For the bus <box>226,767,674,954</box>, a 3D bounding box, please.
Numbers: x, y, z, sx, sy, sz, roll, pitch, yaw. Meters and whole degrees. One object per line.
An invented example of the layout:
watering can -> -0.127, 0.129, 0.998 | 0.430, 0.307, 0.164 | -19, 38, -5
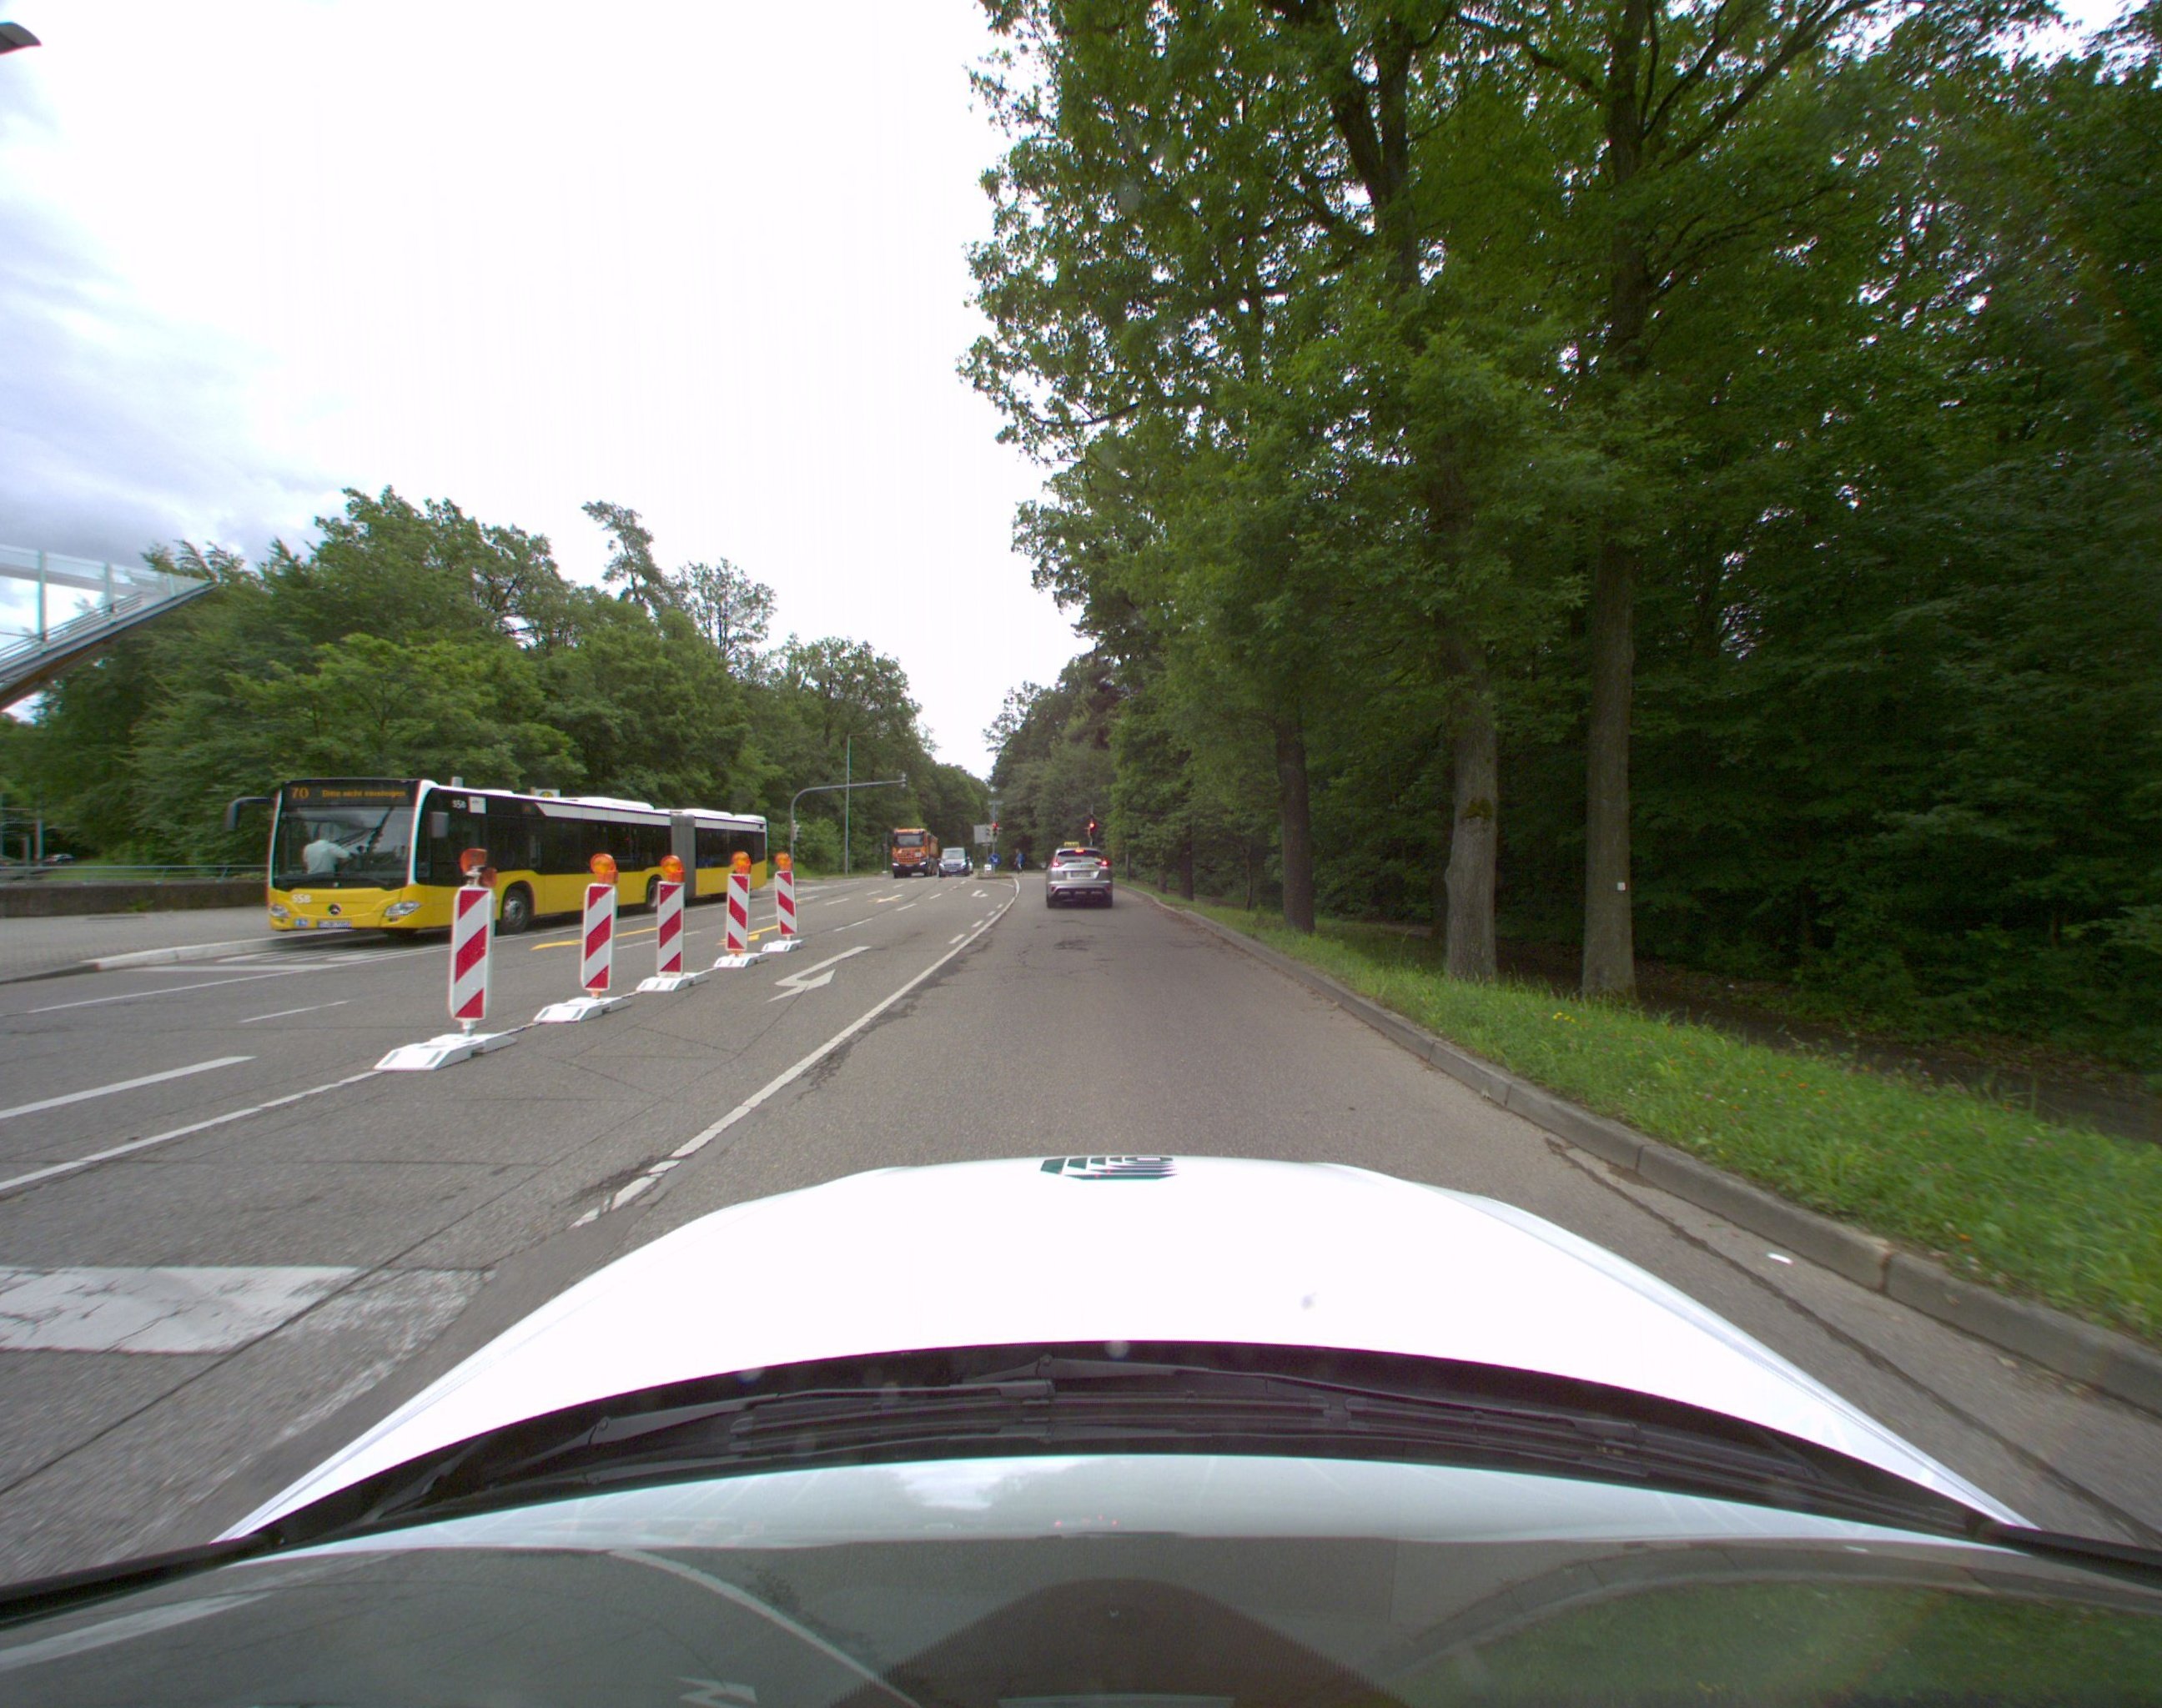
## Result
bus -> -12.999, 0.099, 18.533 | 2.892, 3.127, 9.750 | 0, 0, -3

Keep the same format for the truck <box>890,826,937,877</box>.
truck -> -11.839, -0.130, 58.169 | 2.737, 3.318, 7.140 | -2, -1, -8

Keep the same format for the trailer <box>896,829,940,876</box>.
trailer -> -12.486, -0.056, 63.016 | 2.737, 3.318, 8.545 | -2, -1, -8

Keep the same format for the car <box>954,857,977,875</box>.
car -> -9.449, 0.978, 66.886 | 1.609, 1.321, 3.715 | -3, 1, -5

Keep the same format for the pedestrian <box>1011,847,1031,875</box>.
pedestrian -> -3.600, 0.412, 49.089 | 1.043, 1.649, 1.069 | -1, 1, 0

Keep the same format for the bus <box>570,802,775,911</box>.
bus -> -13.379, 0.064, 27.760 | 2.892, 3.127, 8.686 | 0, 0, -3

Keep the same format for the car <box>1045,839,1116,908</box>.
car -> 0.007, 0.480, 23.225 | 1.840, 1.780, 4.001 | 0, 1, 1

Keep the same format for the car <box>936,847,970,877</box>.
car -> -8.573, 0.523, 54.946 | 1.991, 1.893, 4.828 | -2, 0, -6
